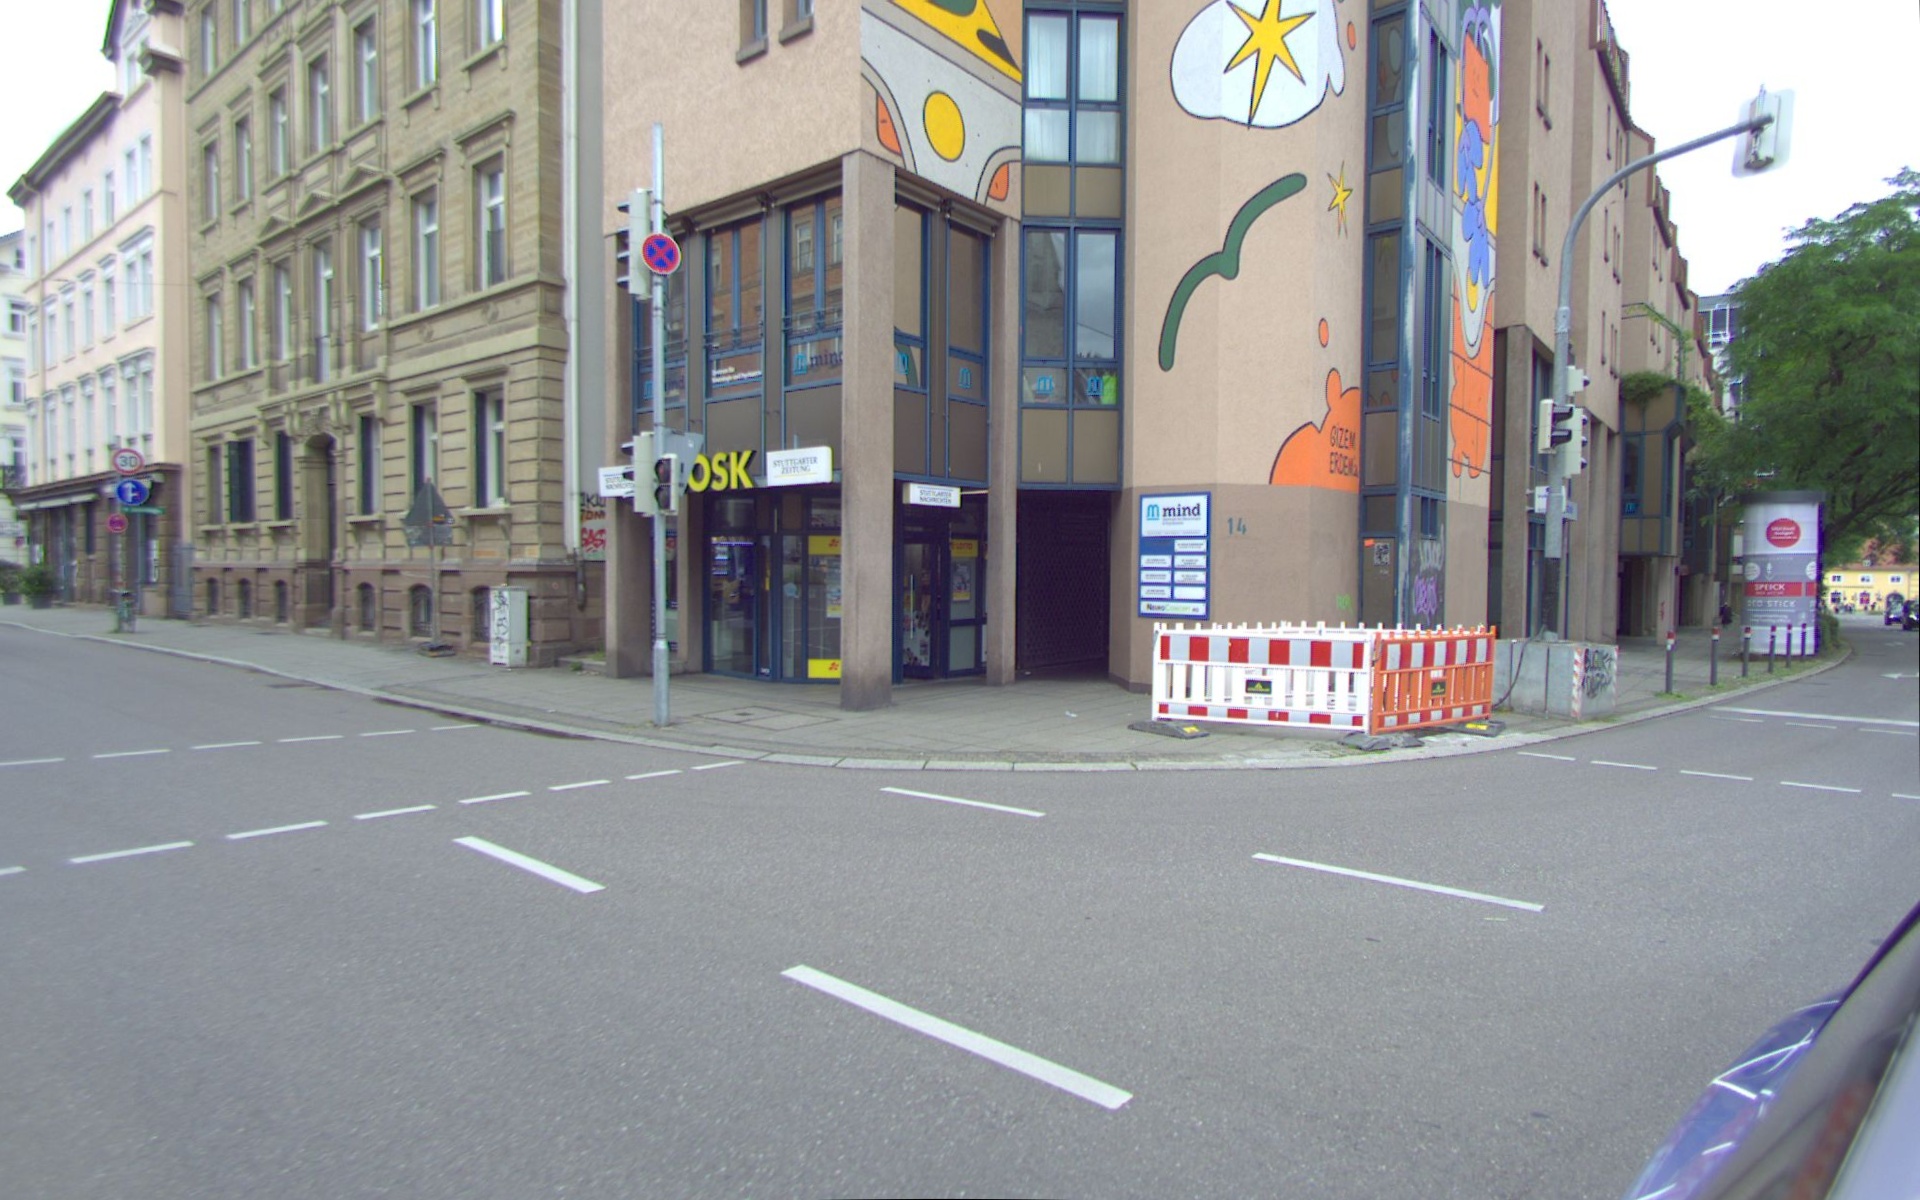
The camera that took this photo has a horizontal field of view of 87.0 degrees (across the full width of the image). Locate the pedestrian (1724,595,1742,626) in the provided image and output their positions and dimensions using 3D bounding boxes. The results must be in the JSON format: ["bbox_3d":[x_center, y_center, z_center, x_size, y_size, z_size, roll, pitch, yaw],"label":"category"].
[{"bbox_3d":[43.954,0.571,57.542,0.676,1.733,0.710,2,0,-43],"label":"pedestrian"}]

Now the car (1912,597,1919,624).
[{"bbox_3d":[58.212,0.634,60.368,1.945,1.549,3.935,0,0,45],"label":"car"}]
